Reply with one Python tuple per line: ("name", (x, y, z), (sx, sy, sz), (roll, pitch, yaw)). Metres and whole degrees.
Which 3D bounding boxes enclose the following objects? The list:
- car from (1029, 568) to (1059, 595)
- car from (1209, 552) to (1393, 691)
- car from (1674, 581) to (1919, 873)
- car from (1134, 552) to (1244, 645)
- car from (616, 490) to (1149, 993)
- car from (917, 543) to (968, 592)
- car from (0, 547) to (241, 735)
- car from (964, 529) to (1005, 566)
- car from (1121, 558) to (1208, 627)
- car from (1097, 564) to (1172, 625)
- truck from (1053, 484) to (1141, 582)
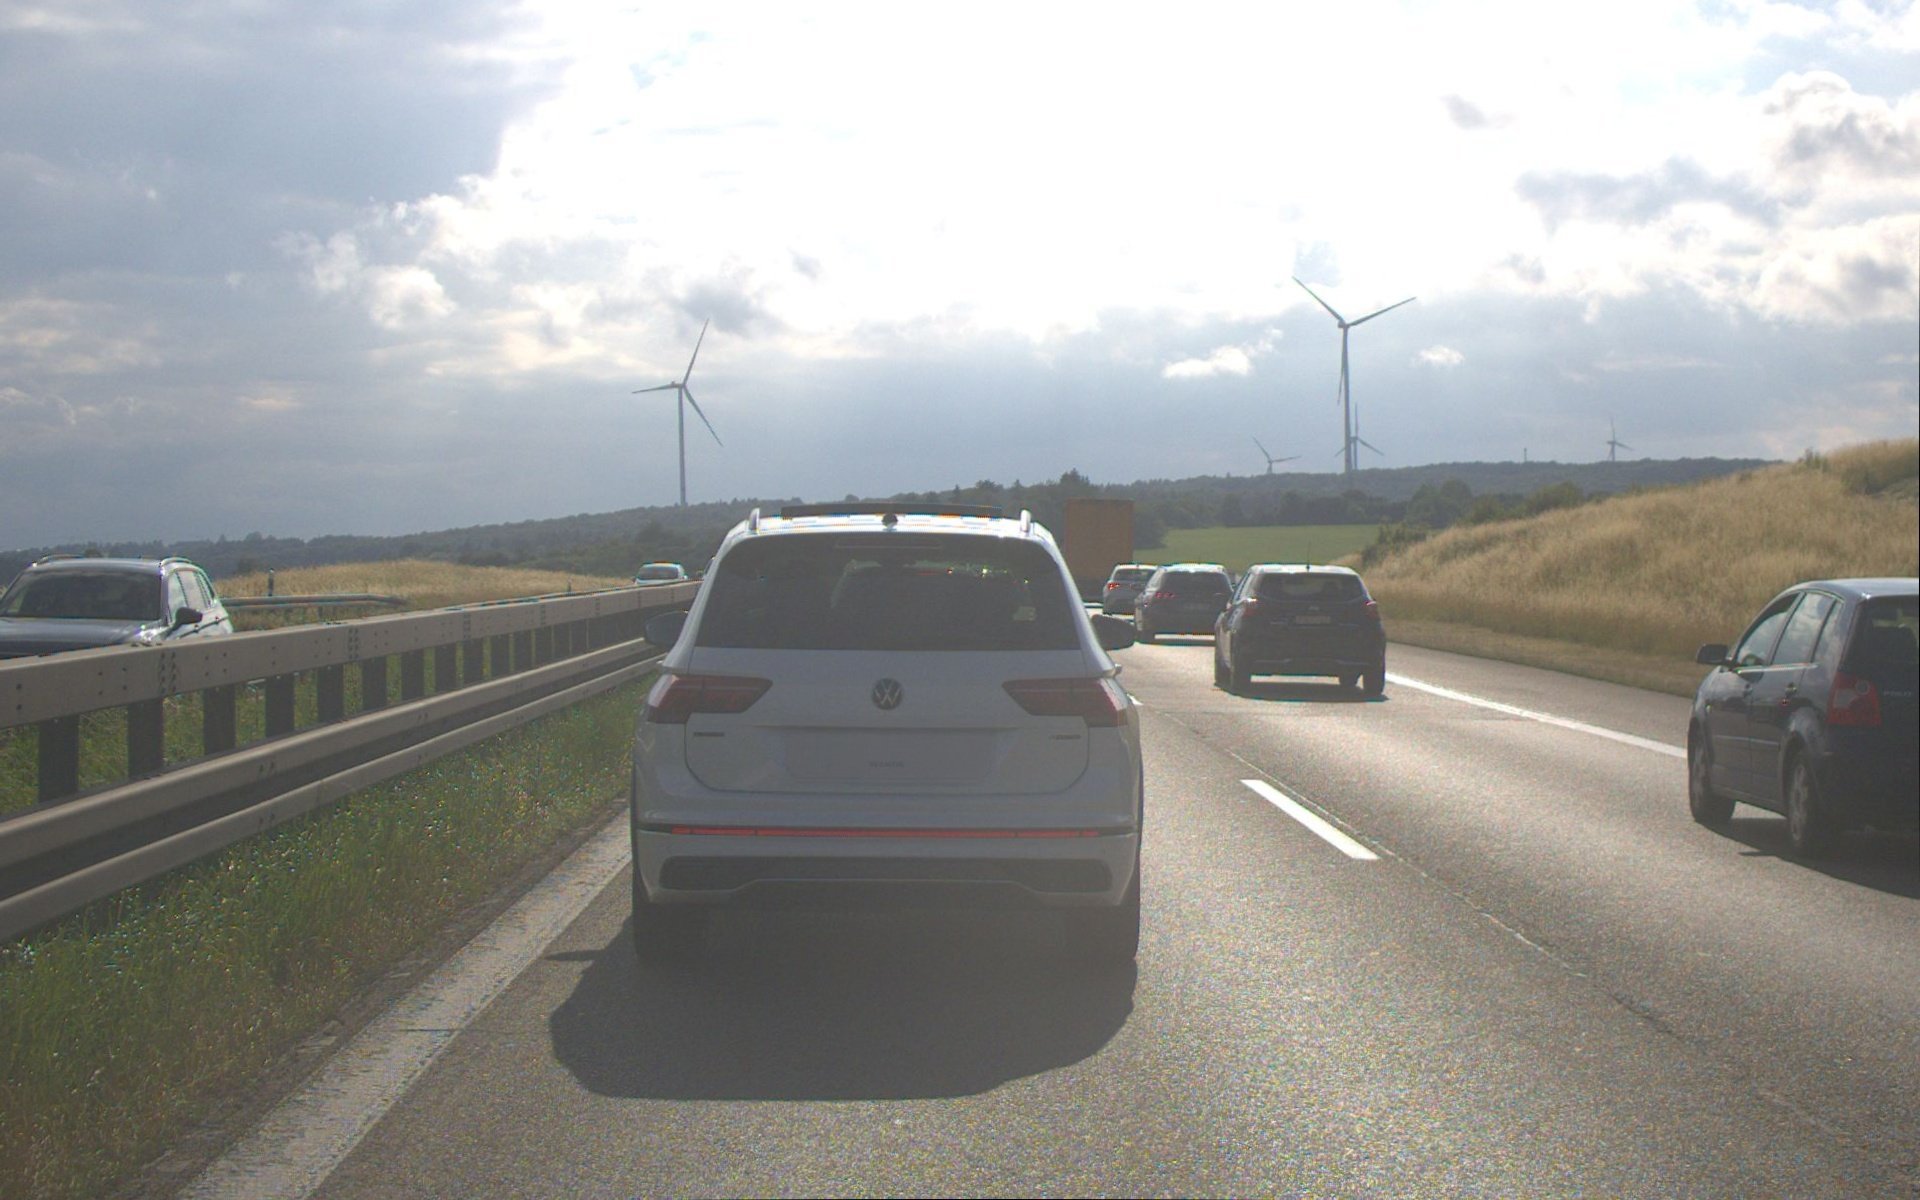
("car", (4.928, -1.068, 201.720), (1.704, 1.540, 4.000), (1, 0, 2))
("car", (3.949, 0.223, 40.332), (1.704, 1.540, 4.000), (1, 0, -1))
("car", (5.010, 0.615, 18.584), (1.606, 1.415, 3.672), (1, 0, 1))
("car", (4.190, -0.040, 63.272), (1.704, 1.644, 4.000), (1, 0, -1))
("car", (-0.277, 0.460, 13.509), (1.770, 1.670, 4.000), (1, 0, -1))
("car", (-0.610, -1.098, 117.269), (1.704, 1.644, 4.000), (1, 0, -1))
("car", (-7.871, 0.331, 31.526), (1.749, 1.598, 4.266), (0, 0, -2))
("car", (1.032, -2.253, 147.392), (1.704, 1.540, 4.000), (1, 0, -1))
("car", (4.656, -0.185, 78.848), (1.704, 1.540, 4.000), (1, 0, -1))
("car", (4.496, -0.160, 89.041), (1.704, 1.540, 4.000), (1, 0, -1))
("truck", (5.221, -2.582, 133.061), (3.184, 3.581, 11.130), (1, 1, 1))
